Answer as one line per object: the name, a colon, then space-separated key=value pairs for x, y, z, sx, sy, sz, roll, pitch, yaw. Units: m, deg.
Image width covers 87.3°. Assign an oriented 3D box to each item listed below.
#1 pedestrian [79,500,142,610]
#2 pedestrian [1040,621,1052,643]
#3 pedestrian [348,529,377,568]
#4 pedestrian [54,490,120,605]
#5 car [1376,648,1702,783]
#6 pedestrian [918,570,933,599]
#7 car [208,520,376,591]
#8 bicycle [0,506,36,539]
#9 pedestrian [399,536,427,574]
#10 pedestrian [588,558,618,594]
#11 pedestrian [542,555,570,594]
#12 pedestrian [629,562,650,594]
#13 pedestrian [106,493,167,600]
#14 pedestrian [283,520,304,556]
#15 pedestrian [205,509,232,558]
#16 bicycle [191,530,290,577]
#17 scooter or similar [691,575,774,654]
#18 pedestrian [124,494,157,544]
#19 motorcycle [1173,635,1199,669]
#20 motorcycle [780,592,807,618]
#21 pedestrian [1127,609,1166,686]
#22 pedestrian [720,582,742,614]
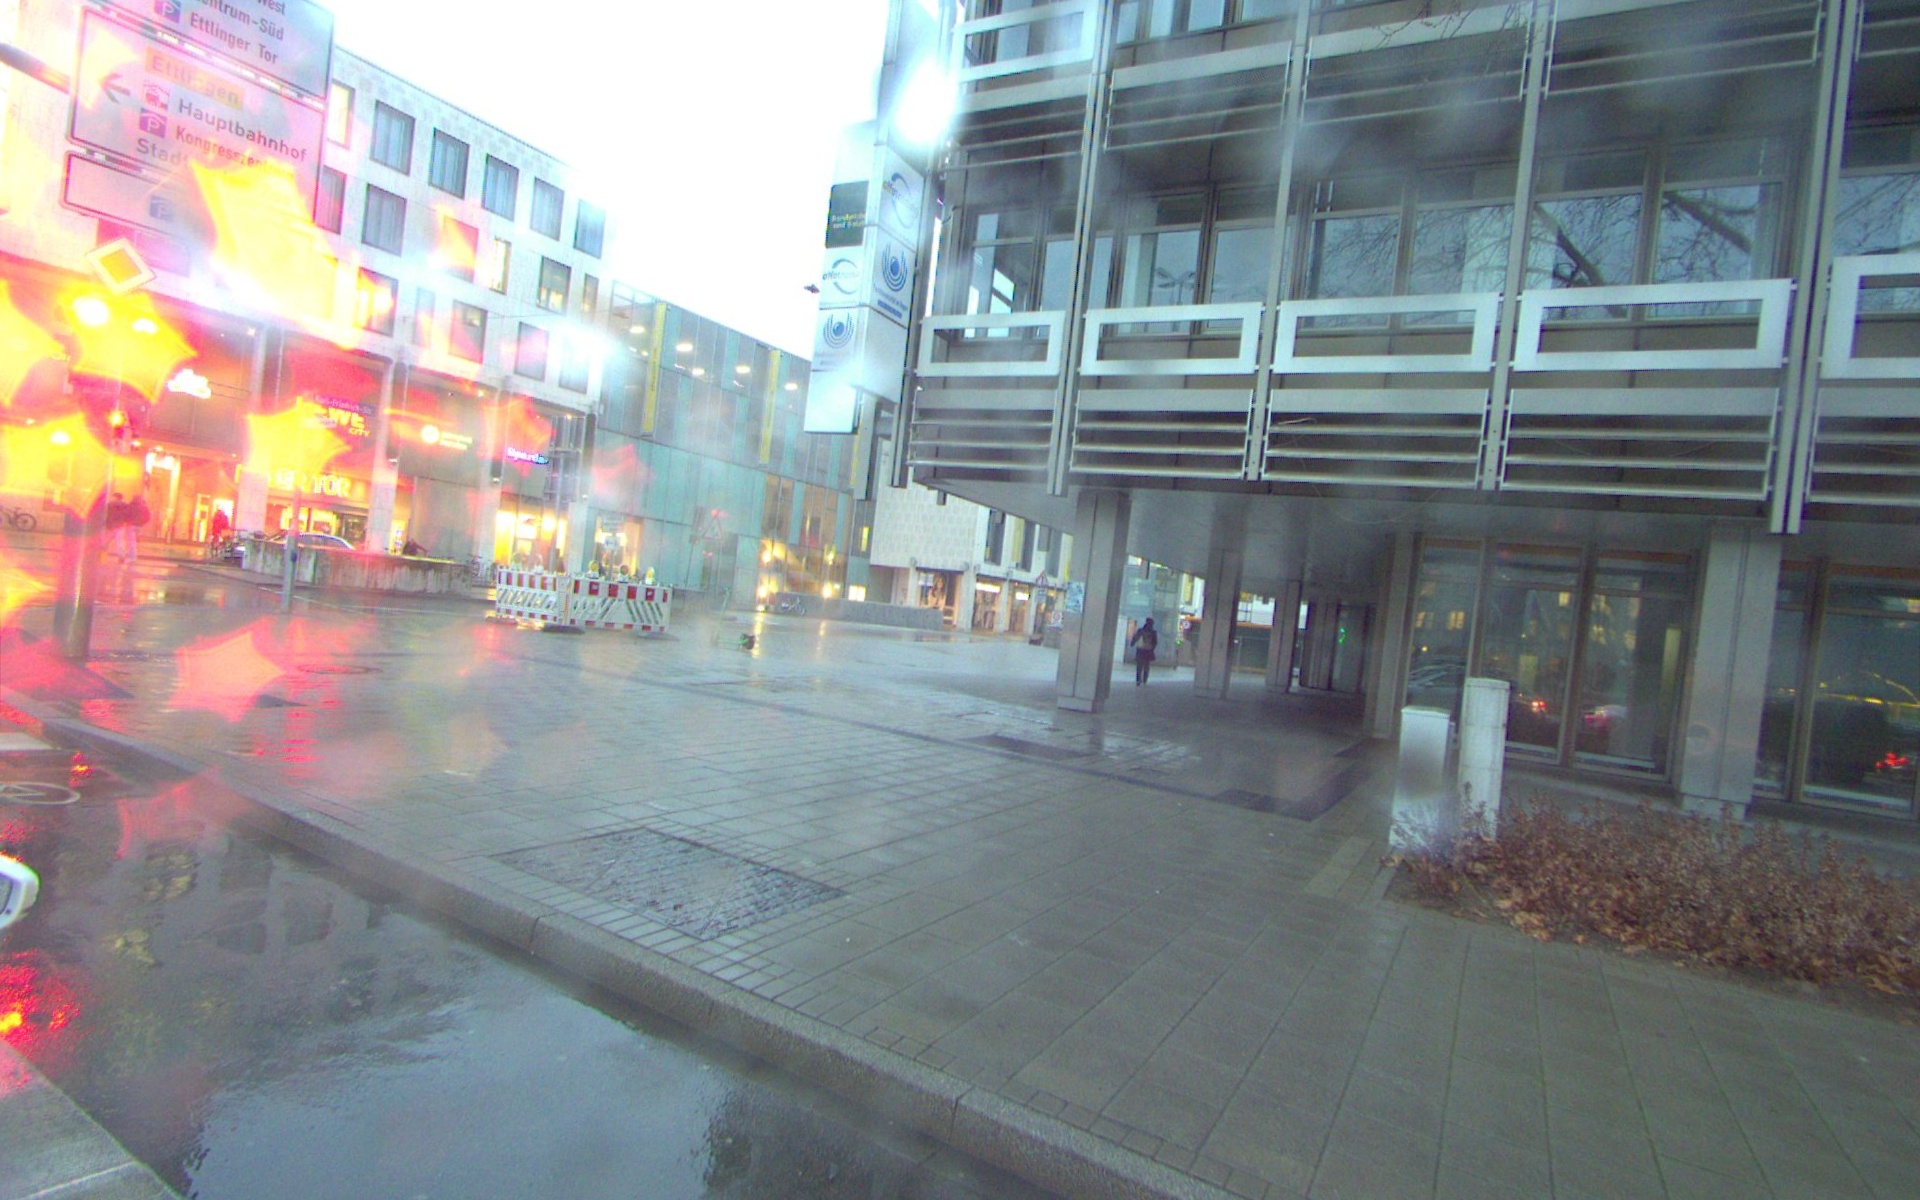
pedestrian: x=-19.973 y=-1.058 z=23.646 sx=0.745 sy=2.469 sz=0.691 roll=7 pitch=-1 yaw=31
pedestrian: x=7.089 y=2.644 z=83.206 sx=0.573 sy=1.703 sz=0.542 roll=6 pitch=-1 yaw=38
pedestrian: x=-27.984 y=-2.416 z=47.105 sx=0.770 sy=1.703 sz=0.742 roll=6 pitch=-1 yaw=38
pedestrian: x=-19.871 y=-1.191 z=22.904 sx=0.745 sy=2.469 sz=0.716 roll=7 pitch=-1 yaw=31
car: x=8.655 y=1.642 z=15.261 sx=3.935 sy=1.327 sz=1.994 roll=6 pitch=1 yaw=33
pedestrian: x=-2.185 y=-0.986 z=64.121 sx=0.573 sy=1.703 sz=0.542 roll=6 pitch=-1 yaw=38
car: x=-21.651 y=-1.417 z=32.734 sx=1.968 sy=1.636 sz=3.994 roll=6 pitch=-2 yaw=33
bicycle: x=-36.511 y=-3.003 z=38.422 sx=0.515 sy=1.082 sz=1.651 roll=7 pitch=-2 yaw=28
pedestrian: x=-26.512 y=-2.175 z=48.774 sx=0.519 sy=1.705 sz=0.894 roll=6 pitch=0 yaw=31
pedestrian: x=-18.630 y=-1.252 z=52.515 sx=0.810 sy=1.703 sz=1.032 roll=6 pitch=-1 yaw=31
pedestrian: x=-19.105 y=-1.221 z=47.548 sx=0.770 sy=1.703 sz=0.742 roll=6 pitch=-1 yaw=38
pedestrian: x=-18.462 y=-1.267 z=57.955 sx=0.786 sy=1.760 sz=0.767 roll=6 pitch=1 yaw=-43
pedestrian: x=-20.086 y=-1.310 z=24.547 sx=0.778 sy=2.477 sz=0.694 roll=7 pitch=-1 yaw=32
pedestrian: x=-34.226 y=-3.195 z=51.698 sx=0.729 sy=1.740 sz=0.733 roll=6 pitch=1 yaw=-31
pedestrian: x=-32.786 y=-2.949 z=44.476 sx=0.788 sy=2.039 sz=0.586 roll=6 pitch=1 yaw=-39
bicycle: x=-26.338 y=-1.685 z=36.882 sx=0.941 sy=1.375 sz=2.718 roll=6 pitch=-1 yaw=28
scooter or similar: x=-4.561 y=0.289 z=20.172 sx=1.470 sy=1.368 sz=0.593 roll=7 pitch=-1 yaw=32
pedestrian: x=-35.659 y=-3.510 z=43.777 sx=0.688 sy=2.038 sz=0.845 roll=7 pitch=1 yaw=40
motorcycle: x=10.038 y=2.311 z=44.687 sx=0.584 sy=1.368 sz=1.493 roll=7 pitch=-1 yaw=29
motorcycle: x=-10.140 y=0.295 z=61.185 sx=0.585 sy=1.368 sz=1.491 roll=7 pitch=-1 yaw=36
pedestrian: x=4.564 y=1.164 z=24.627 sx=0.678 sy=1.796 sz=0.660 roll=7 pitch=-1 yaw=16
pedestrian: x=-13.210 y=-0.136 z=58.087 sx=0.770 sy=1.703 sz=0.742 roll=6 pitch=-1 yaw=38
